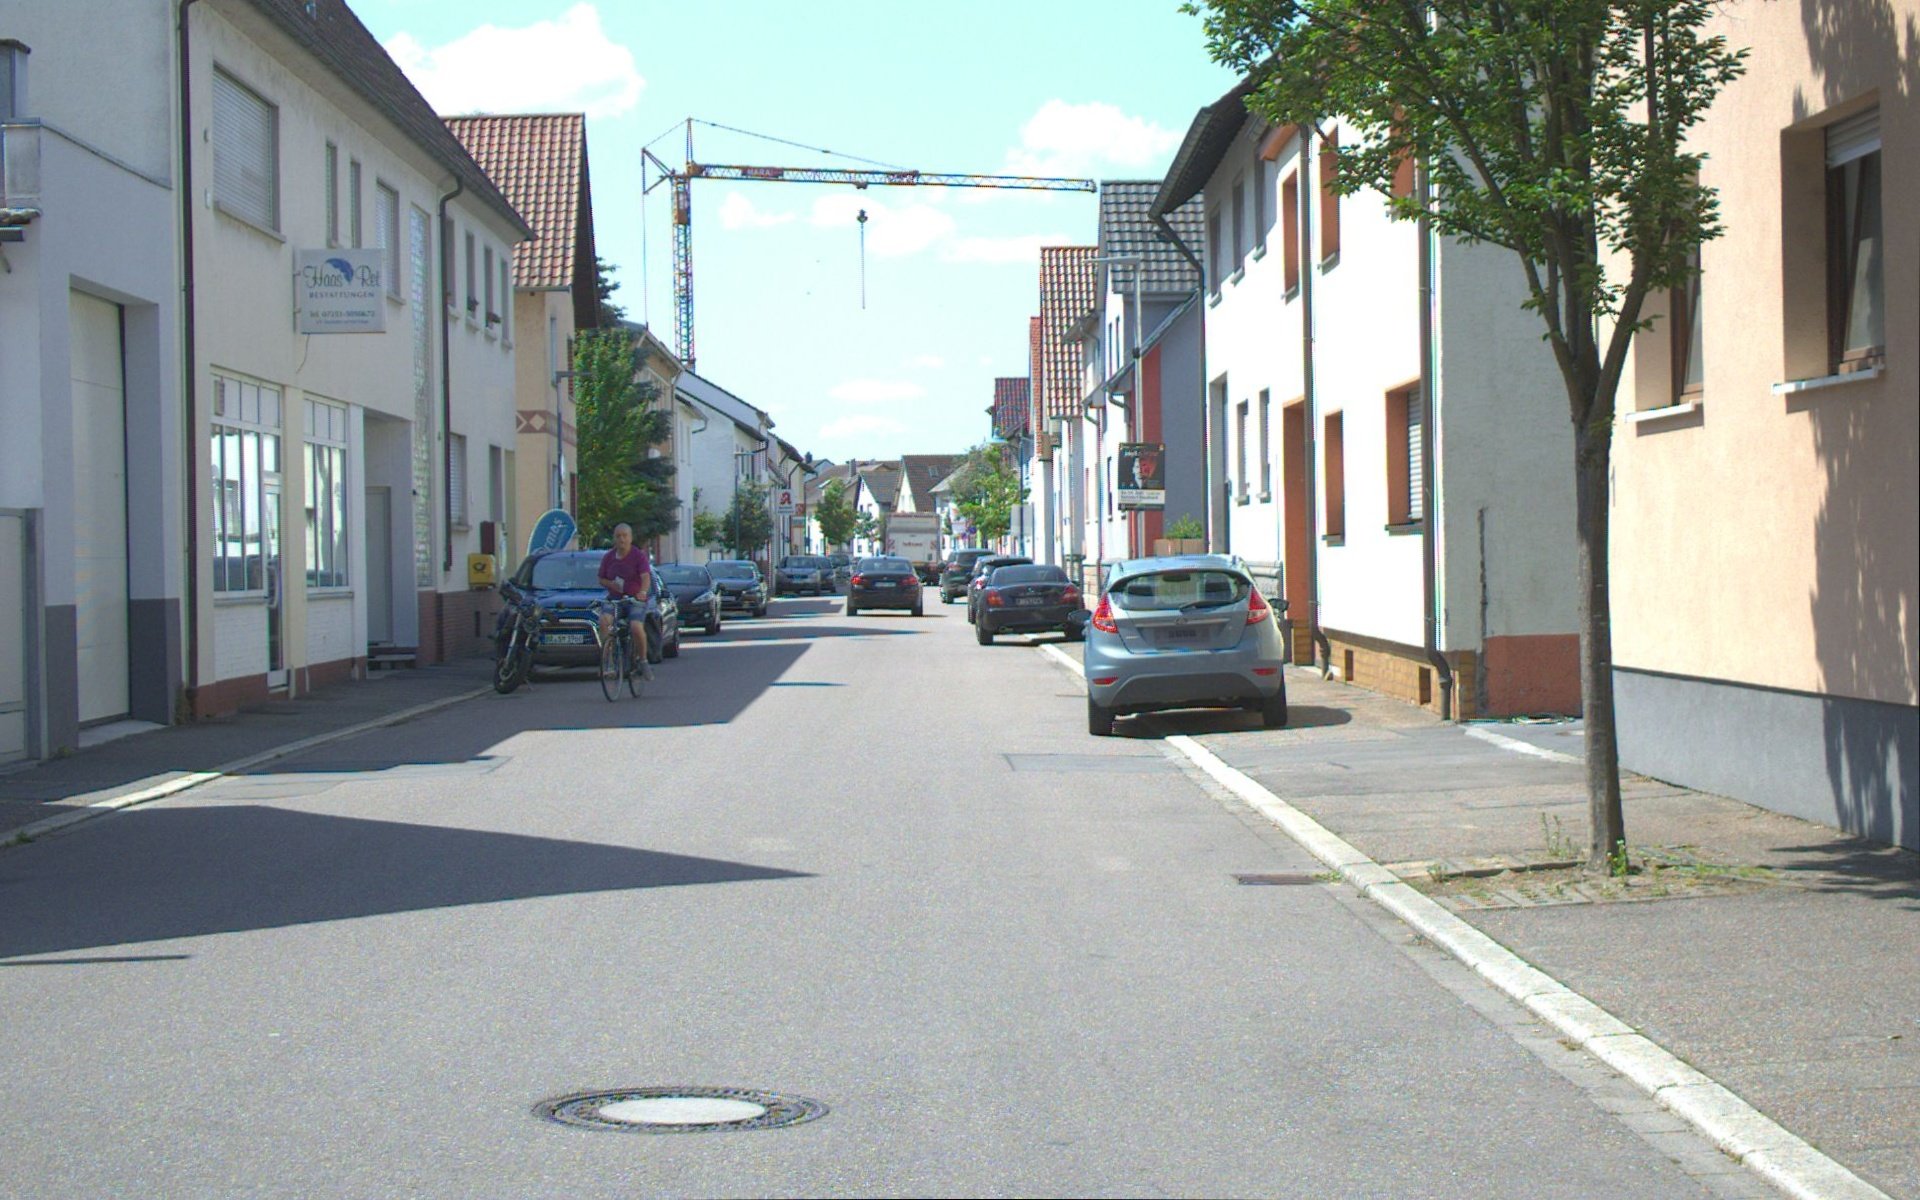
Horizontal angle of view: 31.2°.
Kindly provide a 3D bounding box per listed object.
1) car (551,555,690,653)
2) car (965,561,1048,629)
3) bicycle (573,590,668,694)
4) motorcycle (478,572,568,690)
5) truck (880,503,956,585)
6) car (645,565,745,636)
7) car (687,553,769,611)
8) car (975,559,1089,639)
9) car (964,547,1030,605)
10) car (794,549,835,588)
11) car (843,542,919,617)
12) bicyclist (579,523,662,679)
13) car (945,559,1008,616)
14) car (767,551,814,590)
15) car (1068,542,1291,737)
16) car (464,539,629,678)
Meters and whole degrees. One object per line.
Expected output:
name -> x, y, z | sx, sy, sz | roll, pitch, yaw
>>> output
car -> -5.099, 0.033, 52.104 | 1.697, 1.407, 4.390 | 0, 1, -1
car -> 1.000, -0.127, 74.986 | 1.688, 1.417, 3.657 | -1, 1, -1
bicycle -> -3.595, 0.433, 36.539 | 0.743, 1.044, 1.940 | 0, 1, 2
motorcycle -> -5.051, 0.345, 39.828 | 0.808, 1.308, 2.106 | 0, 1, -1
truck -> -2.185, -2.758, 173.182 | 3.378, 3.852, 13.927 | -2, 0, -2
car -> -5.281, -0.012, 68.938 | 1.761, 1.369, 4.067 | 0, 1, -1
car -> -6.029, -0.488, 89.866 | 1.768, 1.455, 4.436 | -1, 1, 1
car -> 1.181, -0.037, 58.179 | 1.815, 1.271, 4.147 | 0, 1, 0
car -> 1.010, -0.690, 95.388 | 1.617, 1.490, 3.972 | -3, 1, -1
car -> -6.173, -1.334, 146.164 | 1.653, 1.603, 4.061 | -1, 1, -1
car -> -1.956, -0.518, 84.515 | 1.782, 1.747, 4.000 | -2, 0, -2
bicyclist -> -3.599, 0.007, 36.484 | 0.747, 1.631, 0.956 | 0, 1, 3
car -> 0.504, -0.407, 107.367 | 1.728, 1.711, 4.276 | -1, 1, -3
car -> -6.838, -1.196, 139.307 | 1.758, 1.519, 4.289 | -1, 1, -1
car -> 1.888, 0.294, 29.923 | 1.722, 1.476, 3.749 | -4, 1, 3
car -> -5.298, 0.073, 44.456 | 1.717, 1.634, 4.149 | -2, 1, -2
